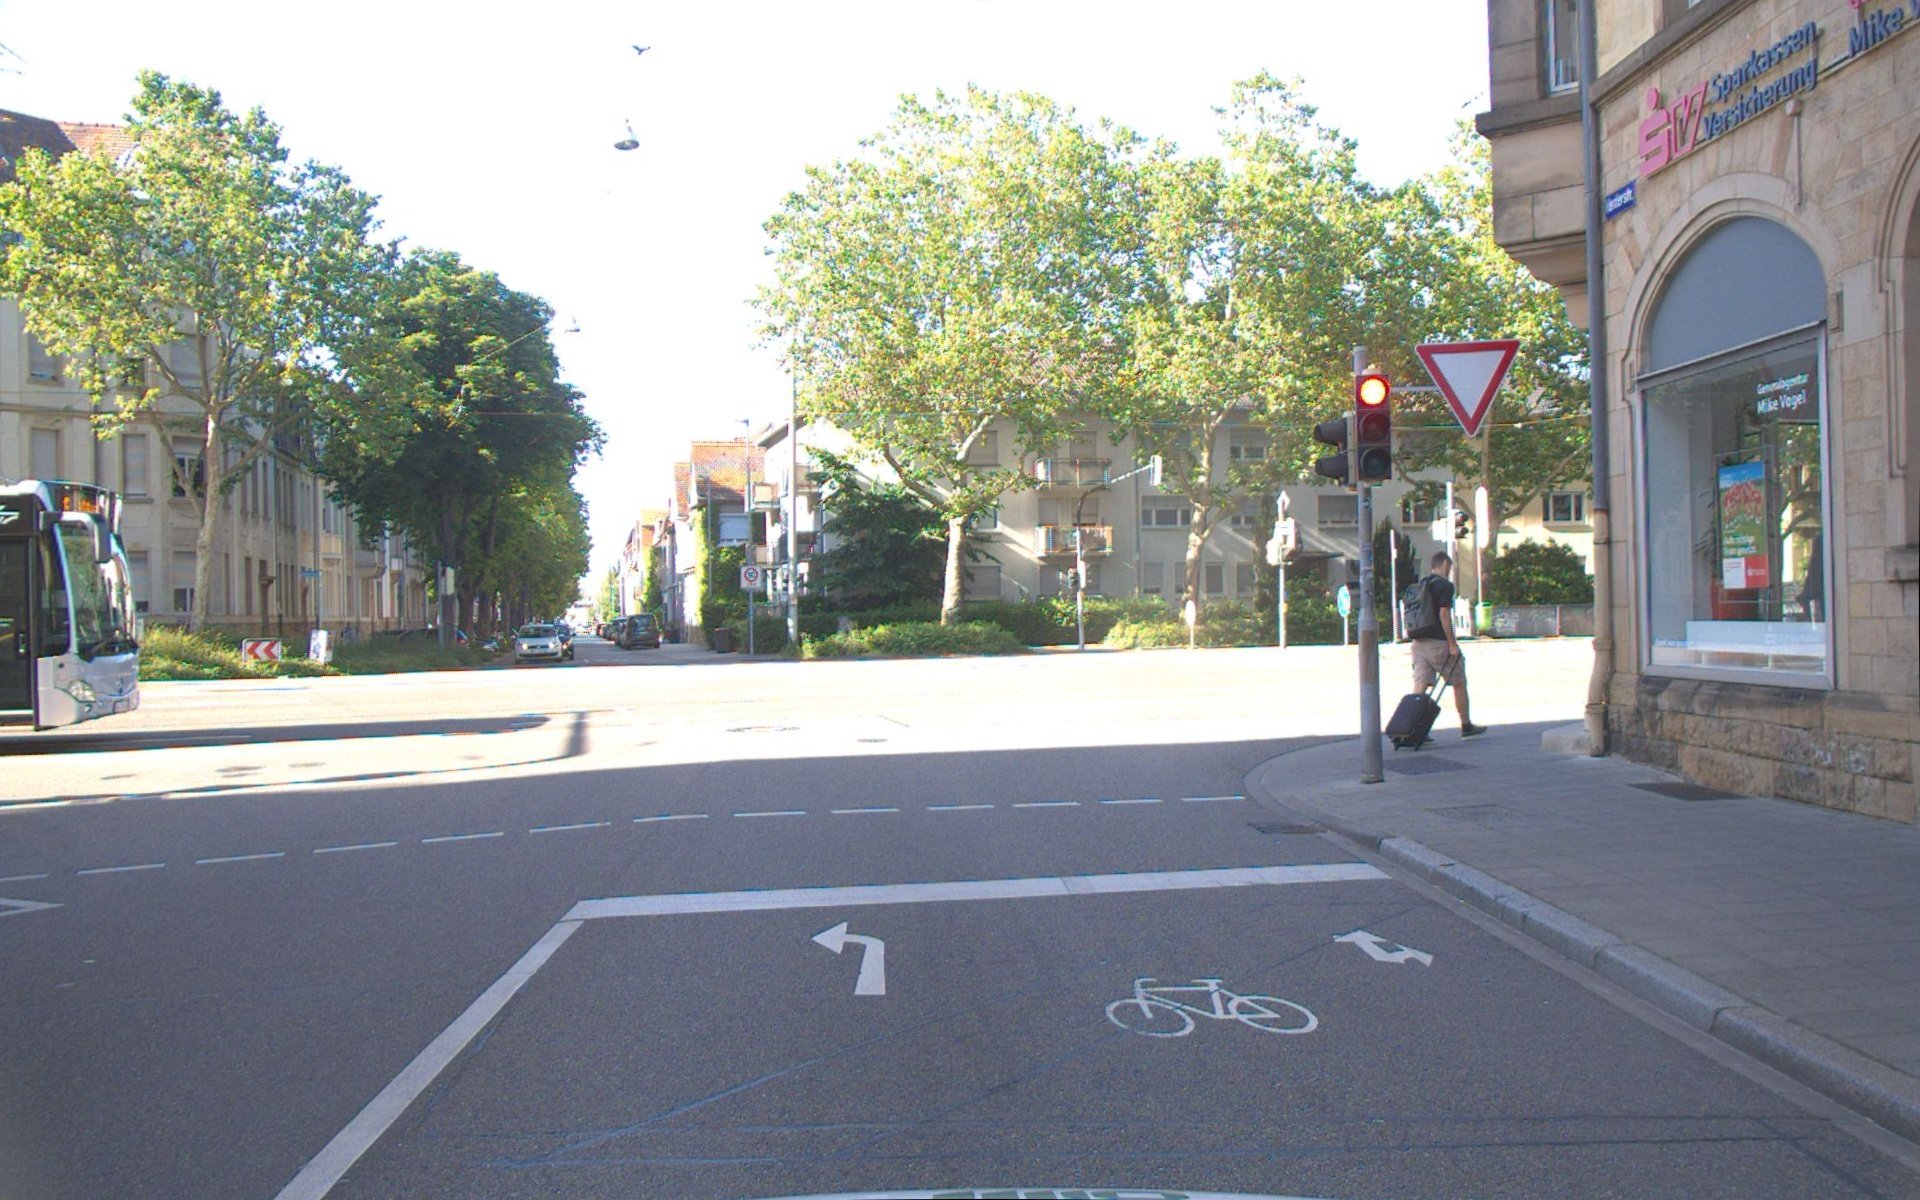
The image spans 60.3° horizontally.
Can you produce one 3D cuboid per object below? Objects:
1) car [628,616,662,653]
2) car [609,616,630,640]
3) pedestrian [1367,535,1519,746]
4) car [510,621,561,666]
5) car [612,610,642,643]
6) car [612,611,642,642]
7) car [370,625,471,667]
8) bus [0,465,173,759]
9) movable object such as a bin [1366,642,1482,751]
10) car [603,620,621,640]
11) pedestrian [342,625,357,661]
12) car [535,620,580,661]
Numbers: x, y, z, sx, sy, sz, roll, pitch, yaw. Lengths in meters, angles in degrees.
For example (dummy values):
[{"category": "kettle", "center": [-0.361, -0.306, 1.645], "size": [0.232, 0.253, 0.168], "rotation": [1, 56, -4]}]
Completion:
[{"category": "car", "center": [-17.973, 1.919, 94.223], "size": [1.742, 1.952, 3.523], "rotation": [-3, 0, -12]}, {"category": "car", "center": [-30.035, 2.453, 145.942], "size": [1.742, 1.952, 3.523], "rotation": [-3, 0, -12]}, {"category": "pedestrian", "center": [4.603, 0.369, 15.800], "size": [1.050, 1.880, 0.745], "rotation": [-5, 1, -19]}, {"category": "car", "center": [-16.164, 1.638, 63.083], "size": [1.669, 1.509, 3.523], "rotation": [-3, 1, -12]}, {"category": "car", "center": [-21.006, 1.656, 104.296], "size": [1.742, 1.952, 3.523], "rotation": [-3, 0, -12]}, {"category": "car", "center": [-23.112, 1.808, 114.768], "size": [1.958, 2.049, 3.988], "rotation": [1, 0, -12]}, {"category": "car", "center": [-20.444, 1.739, 62.812], "size": [3.572, 1.483, 1.650], "rotation": [-1, 0, -16]}, {"category": "bus", "center": [-14.167, 0.189, 18.243], "size": [9.452, 3.150, 2.737], "rotation": [-1, 0, -13]}, {"category": "movable object such as a bin", "center": [4.245, 0.871, 15.149], "size": [0.847, 0.907, 0.508], "rotation": [-4, 1, -13]}, {"category": "car", "center": [-37.923, 3.258, 180.192], "size": [1.742, 1.952, 3.523], "rotation": [-3, 0, -12]}, {"category": "pedestrian", "center": [-25.037, 1.753, 67.798], "size": [0.480, 1.467, 0.702], "rotation": [1, -1, -16]}, {"category": "car", "center": [-16.755, 1.657, 68.935], "size": [1.669, 1.509, 3.523], "rotation": [-3, 1, -12]}]
